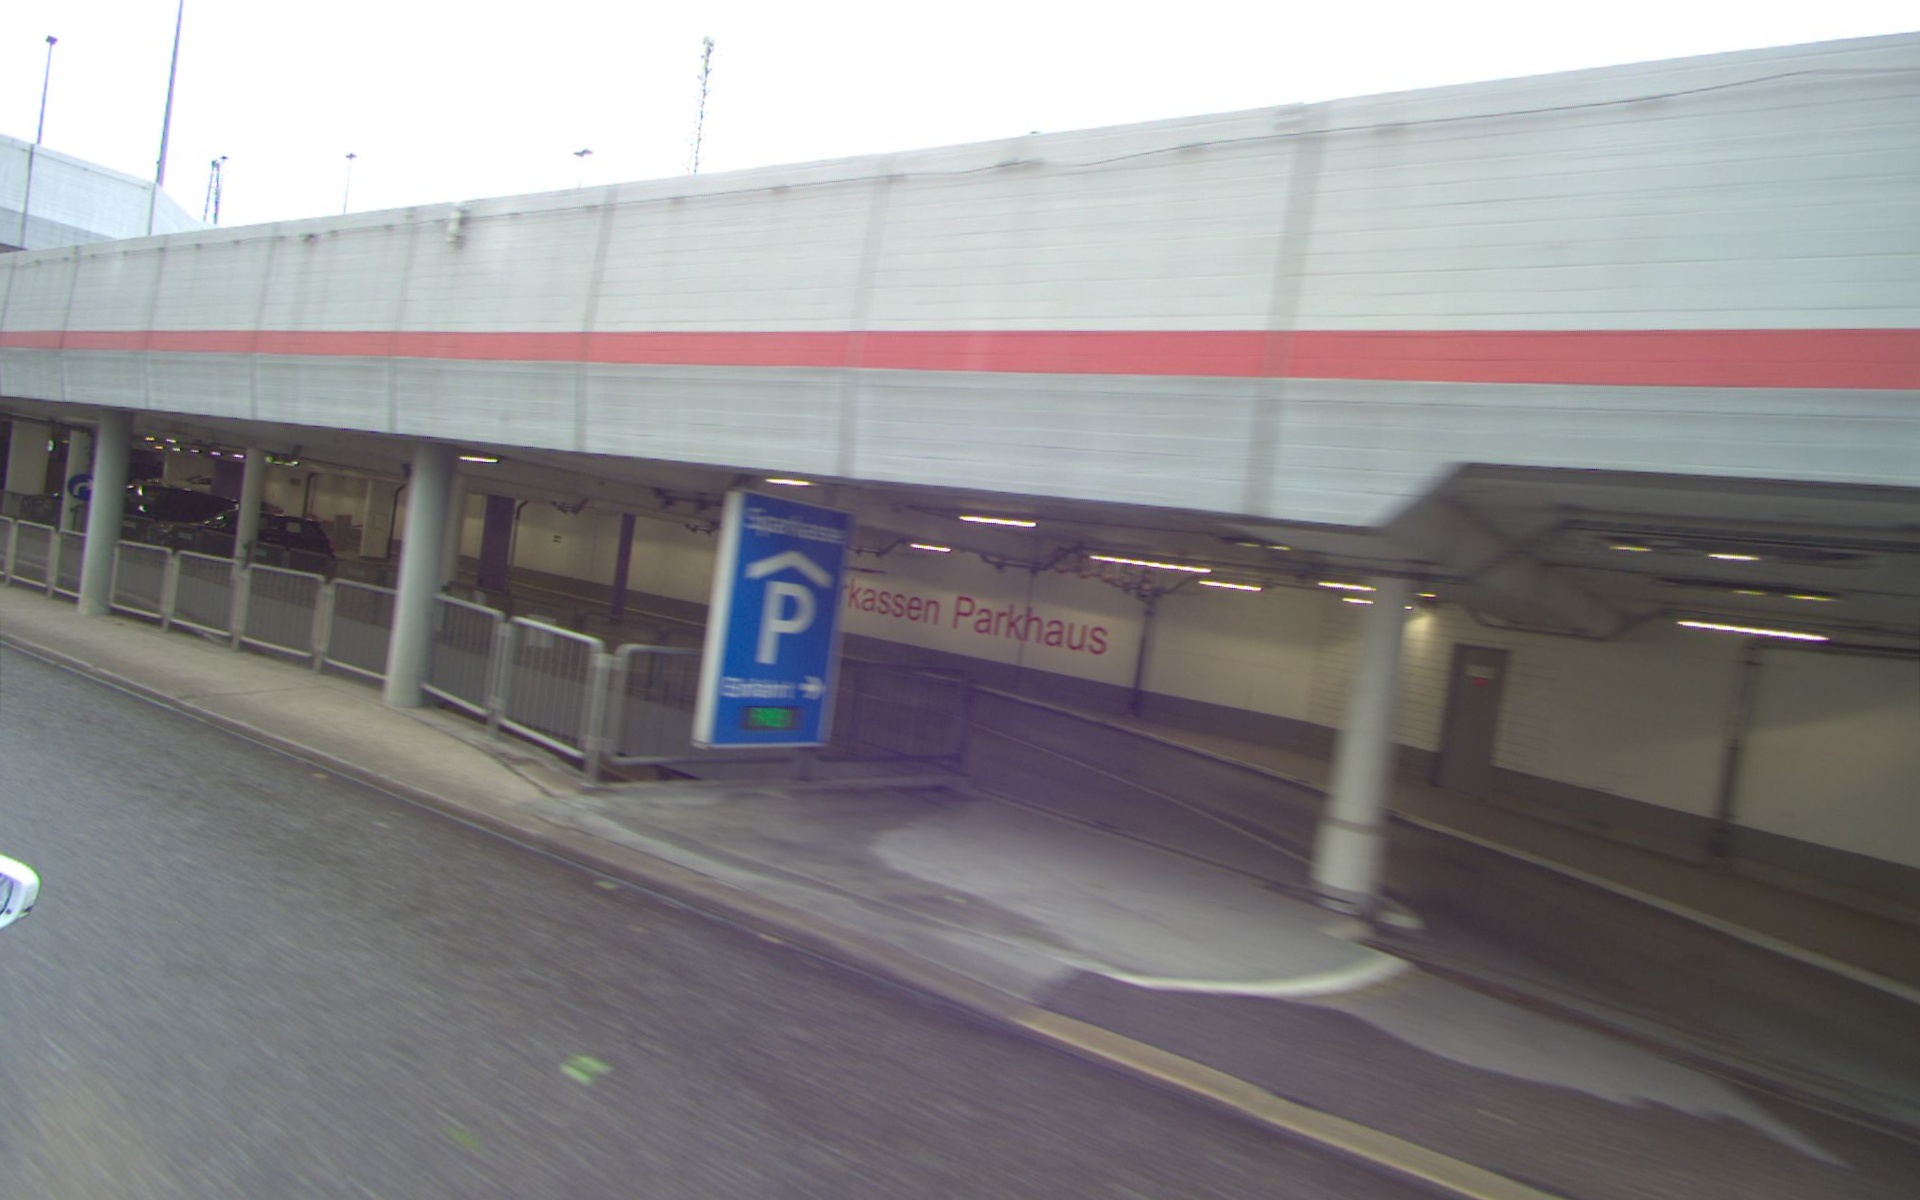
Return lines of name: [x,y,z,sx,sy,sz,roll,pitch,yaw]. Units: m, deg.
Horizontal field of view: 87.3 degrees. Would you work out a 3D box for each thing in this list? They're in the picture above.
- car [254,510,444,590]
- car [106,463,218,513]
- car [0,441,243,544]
car: [-15.559,-1.242,25.751,1.781,1.524,3.717,8,2,41]
car: [-39.798,-5.567,50.221,1.973,1.658,3.983,6,-3,42]
car: [-21.303,-2.640,25.637,1.798,1.658,4.570,6,-3,43]
